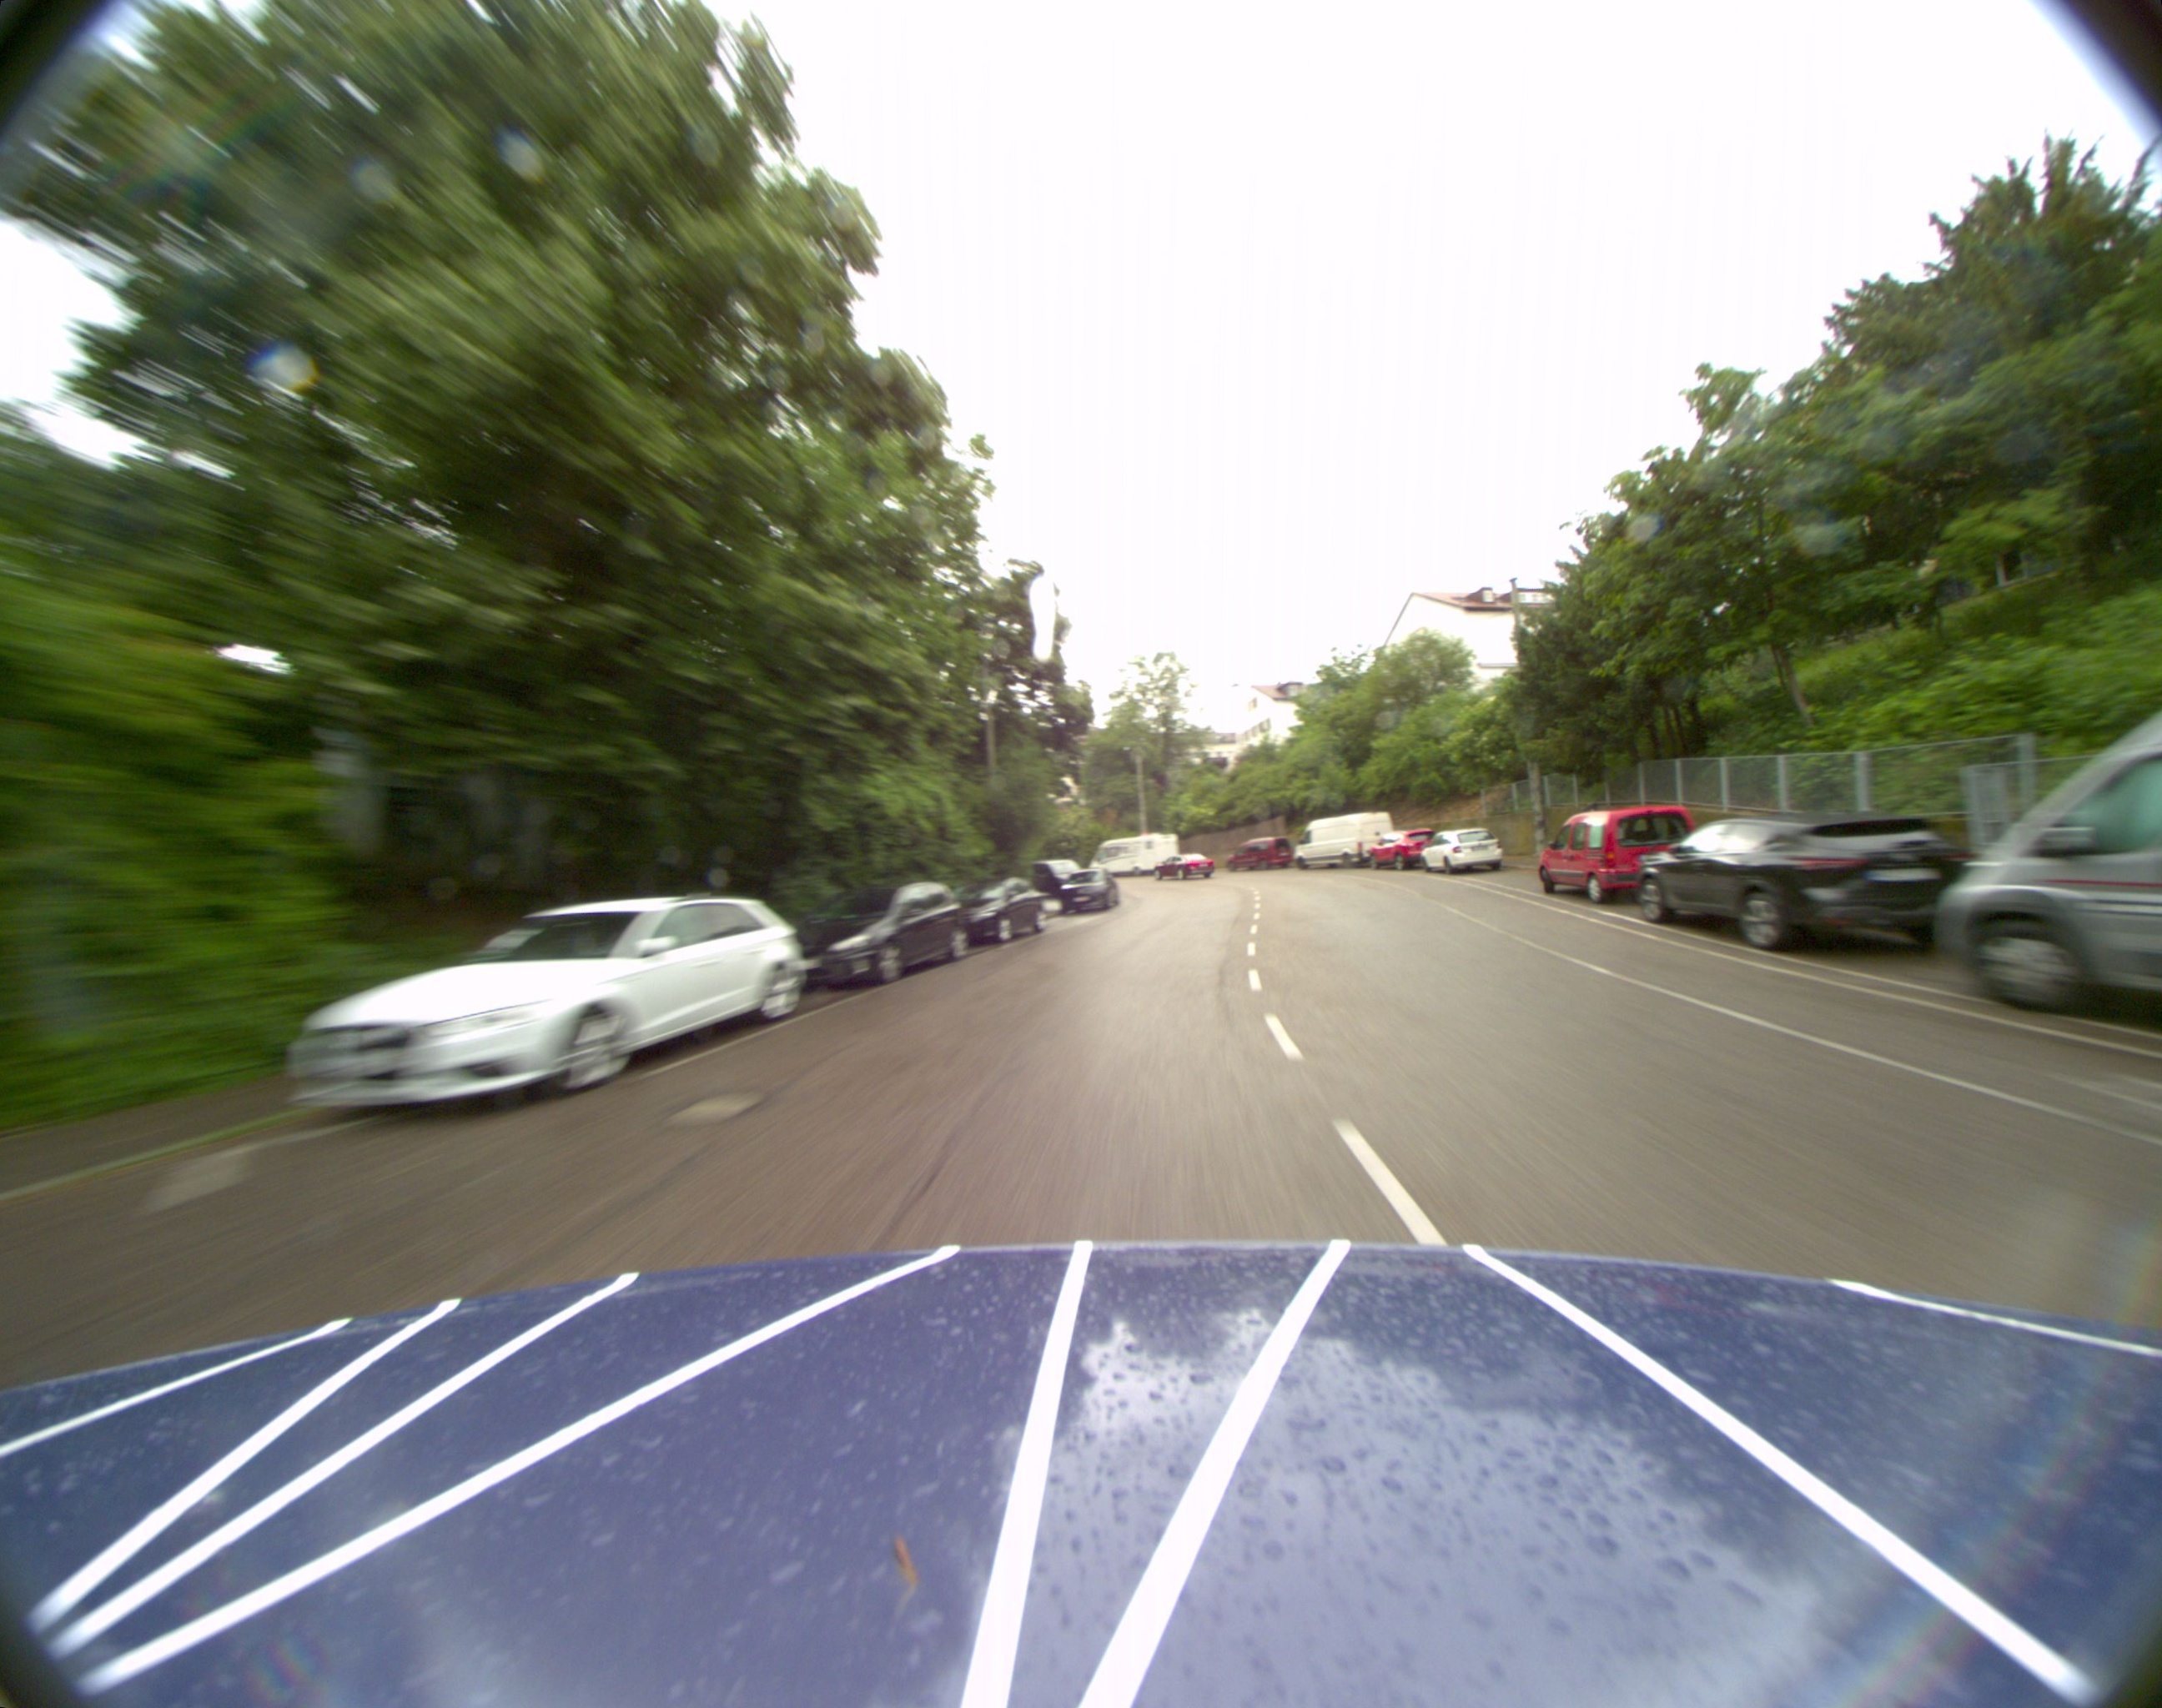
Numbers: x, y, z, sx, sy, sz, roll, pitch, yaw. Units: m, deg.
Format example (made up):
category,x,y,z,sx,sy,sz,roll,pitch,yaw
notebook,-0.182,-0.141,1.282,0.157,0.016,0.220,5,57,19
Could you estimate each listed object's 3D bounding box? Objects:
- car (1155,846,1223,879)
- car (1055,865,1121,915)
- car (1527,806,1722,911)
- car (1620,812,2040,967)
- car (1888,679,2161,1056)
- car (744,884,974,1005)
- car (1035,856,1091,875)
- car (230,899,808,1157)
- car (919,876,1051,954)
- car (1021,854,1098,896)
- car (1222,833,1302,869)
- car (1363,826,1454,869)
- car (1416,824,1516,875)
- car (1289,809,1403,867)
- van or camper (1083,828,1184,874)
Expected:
category,x,y,z,sx,sy,sz,roll,pitch,yaw
car,6.208,0.490,44.372,1.874,1.508,4.476,-10,3,-20
car,0.314,1.249,27.589,1.630,1.479,3.747,-7,-1,10
car,10.904,0.014,15.624,1.753,1.758,4.139,-4,1,13
car,9.410,0.346,10.202,1.997,1.610,4.400,-2,1,13
car,8.143,0.084,3.668,2.078,2.535,6.347,-4,2,5
car,-3.265,1.297,12.060,1.663,1.415,3.973,-4,-1,13
car,-1.483,0.918,61.125,4.121,1.403,1.919,-2,0,35
car,-4.383,1.258,6.897,1.758,1.392,4.099,-4,-1,9
car,-2.107,1.355,17.842,1.592,1.381,3.826,-6,-1,15
car,-1.243,1.120,40.262,2.002,1.876,5.027,-7,1,-26
car,11.072,-0.146,46.843,2.002,1.865,4.812,-6,1,-28
car,13.811,-0.252,32.352,1.780,1.576,4.432,-5,0,-1
car,13.451,-0.166,26.813,1.741,1.470,4.201,-7,0,8
car,13.280,-0.693,38.750,2.041,2.516,6.816,-6,0,-12
van or camper,3.767,-0.160,56.402,2.463,2.950,7.507,-5,1,-45
